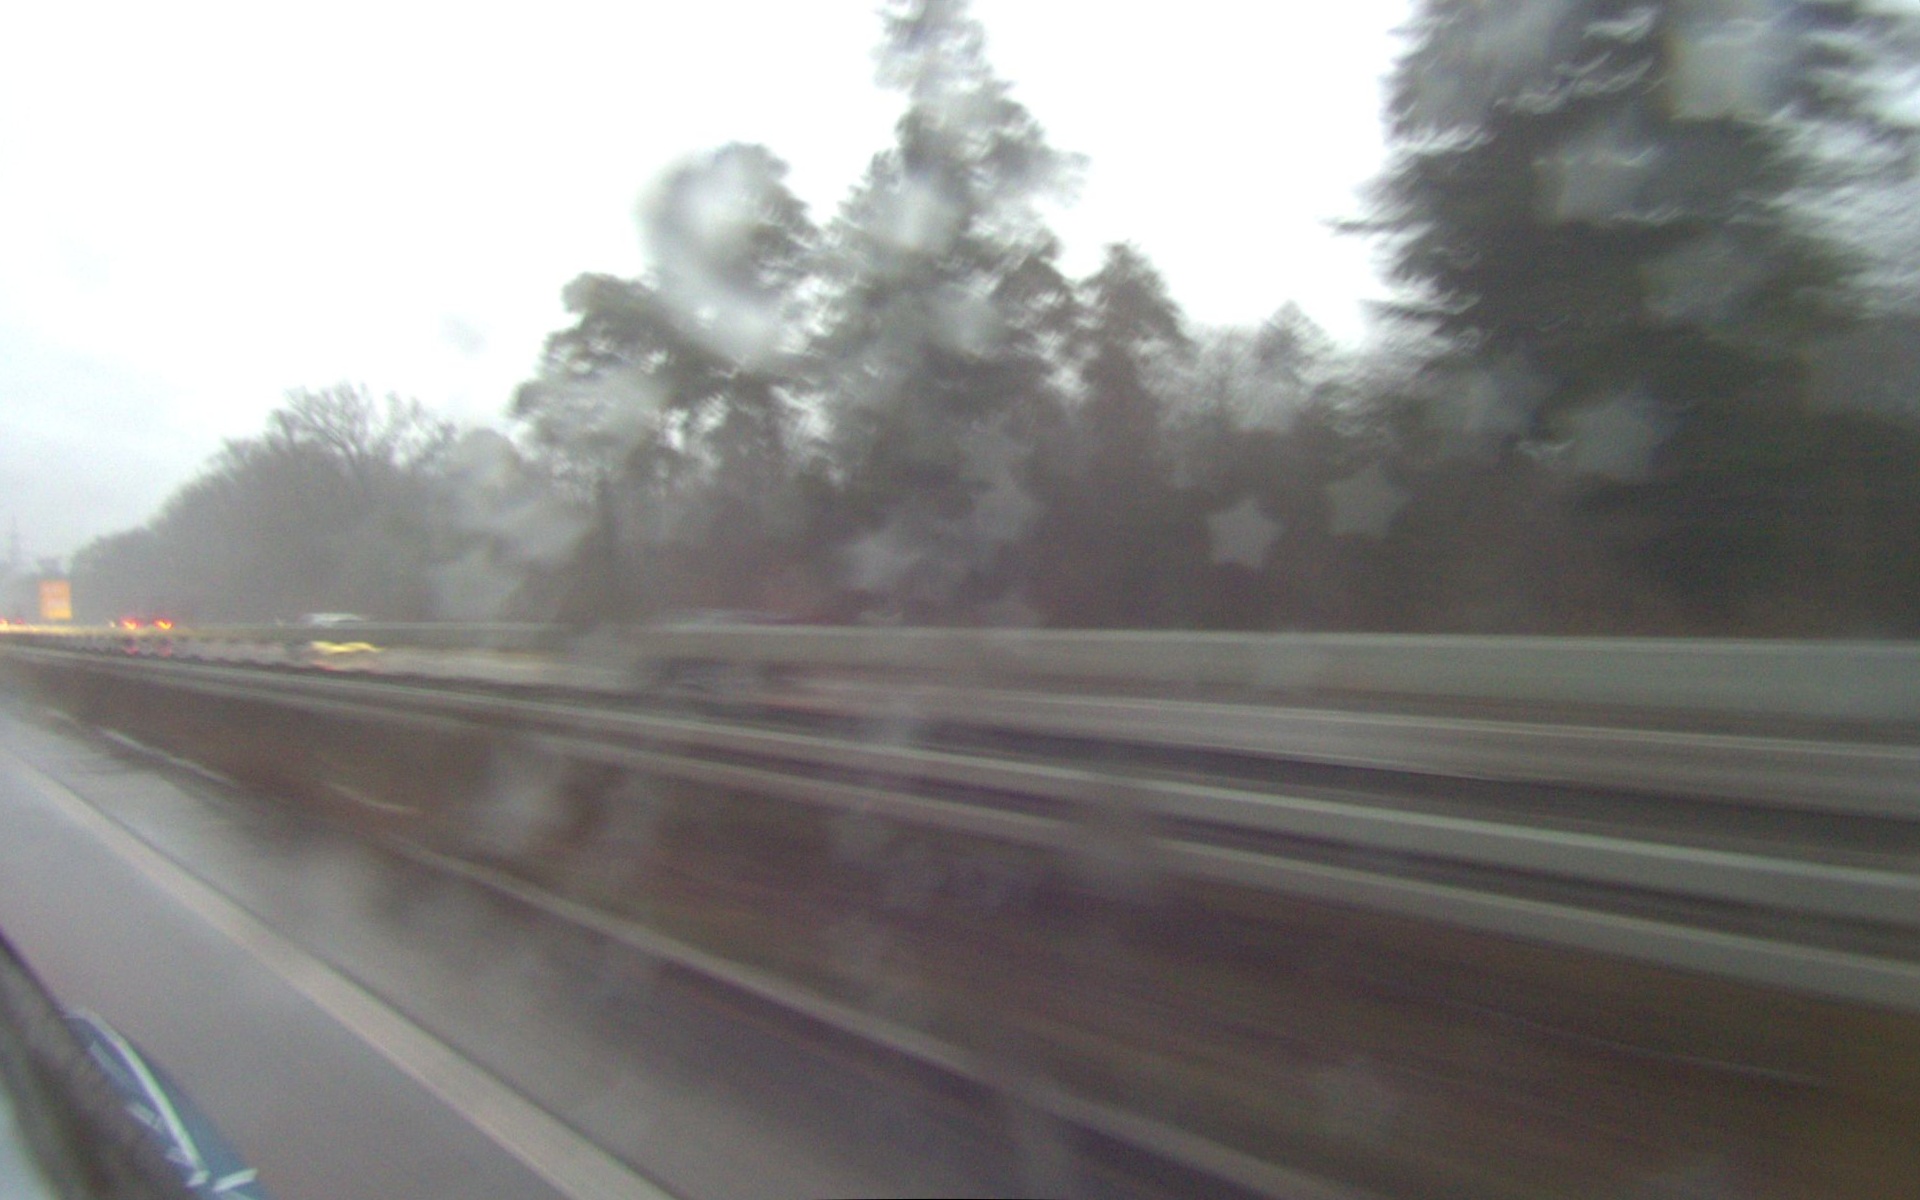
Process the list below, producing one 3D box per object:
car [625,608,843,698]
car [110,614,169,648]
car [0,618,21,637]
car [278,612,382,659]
[{"bbox_3d":[-4.050,0.879,17.812,3.978,1.399,1.659,-1,-1,40],"label":"car"},{"bbox_3d":[-43.670,1.649,53.863,3.998,1.704,1.794,-1,-1,41],"label":"car"},{"bbox_3d":[-92.571,2.665,97.989,4.271,1.585,1.973,1,4,41],"label":"car"},{"bbox_3d":[-21.081,1.153,33.809,4.038,1.451,1.775,-1,-1,40],"label":"car"}]
